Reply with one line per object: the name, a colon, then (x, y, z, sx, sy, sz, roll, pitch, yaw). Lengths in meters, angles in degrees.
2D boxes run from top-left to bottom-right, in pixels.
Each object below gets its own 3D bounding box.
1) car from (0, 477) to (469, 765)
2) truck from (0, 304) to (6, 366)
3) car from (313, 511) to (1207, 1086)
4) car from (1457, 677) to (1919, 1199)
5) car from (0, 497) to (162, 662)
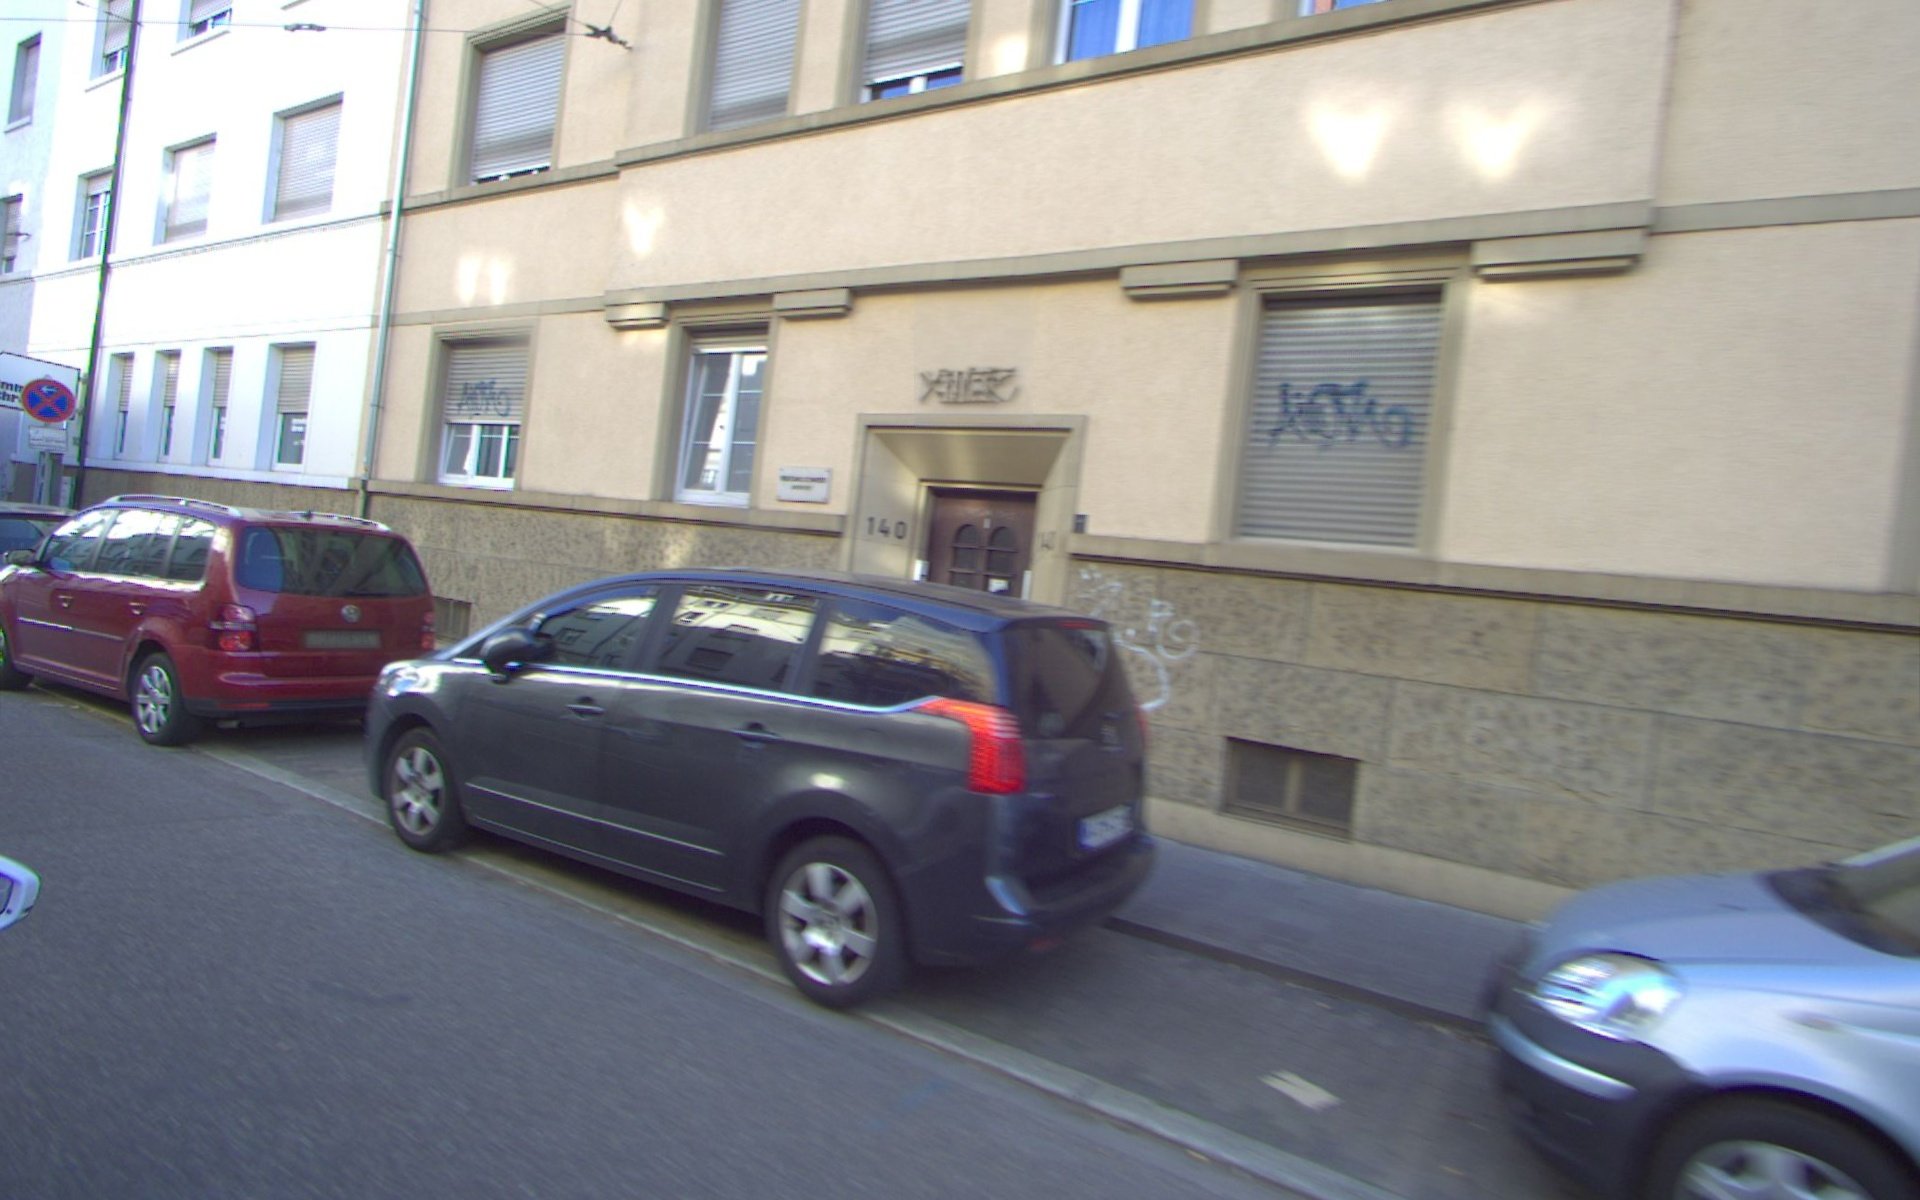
car: (-5.972, 0.037, 7.903, 4.174, 1.629, 1.594, 7, 1, 29)
truck: (-19.253, -2.787, 16.146, 11.586, 4.124, 2.862, 7, 0, 33)
car: (-1.175, 0.619, 5.192, 4.292, 1.672, 1.792, 7, 1, 30)
car: (3.314, 1.176, 2.539, 3.422, 1.481, 1.610, 7, 1, 32)
car: (-10.264, -0.335, 10.600, 3.815, 1.482, 1.584, 7, 1, 31)
